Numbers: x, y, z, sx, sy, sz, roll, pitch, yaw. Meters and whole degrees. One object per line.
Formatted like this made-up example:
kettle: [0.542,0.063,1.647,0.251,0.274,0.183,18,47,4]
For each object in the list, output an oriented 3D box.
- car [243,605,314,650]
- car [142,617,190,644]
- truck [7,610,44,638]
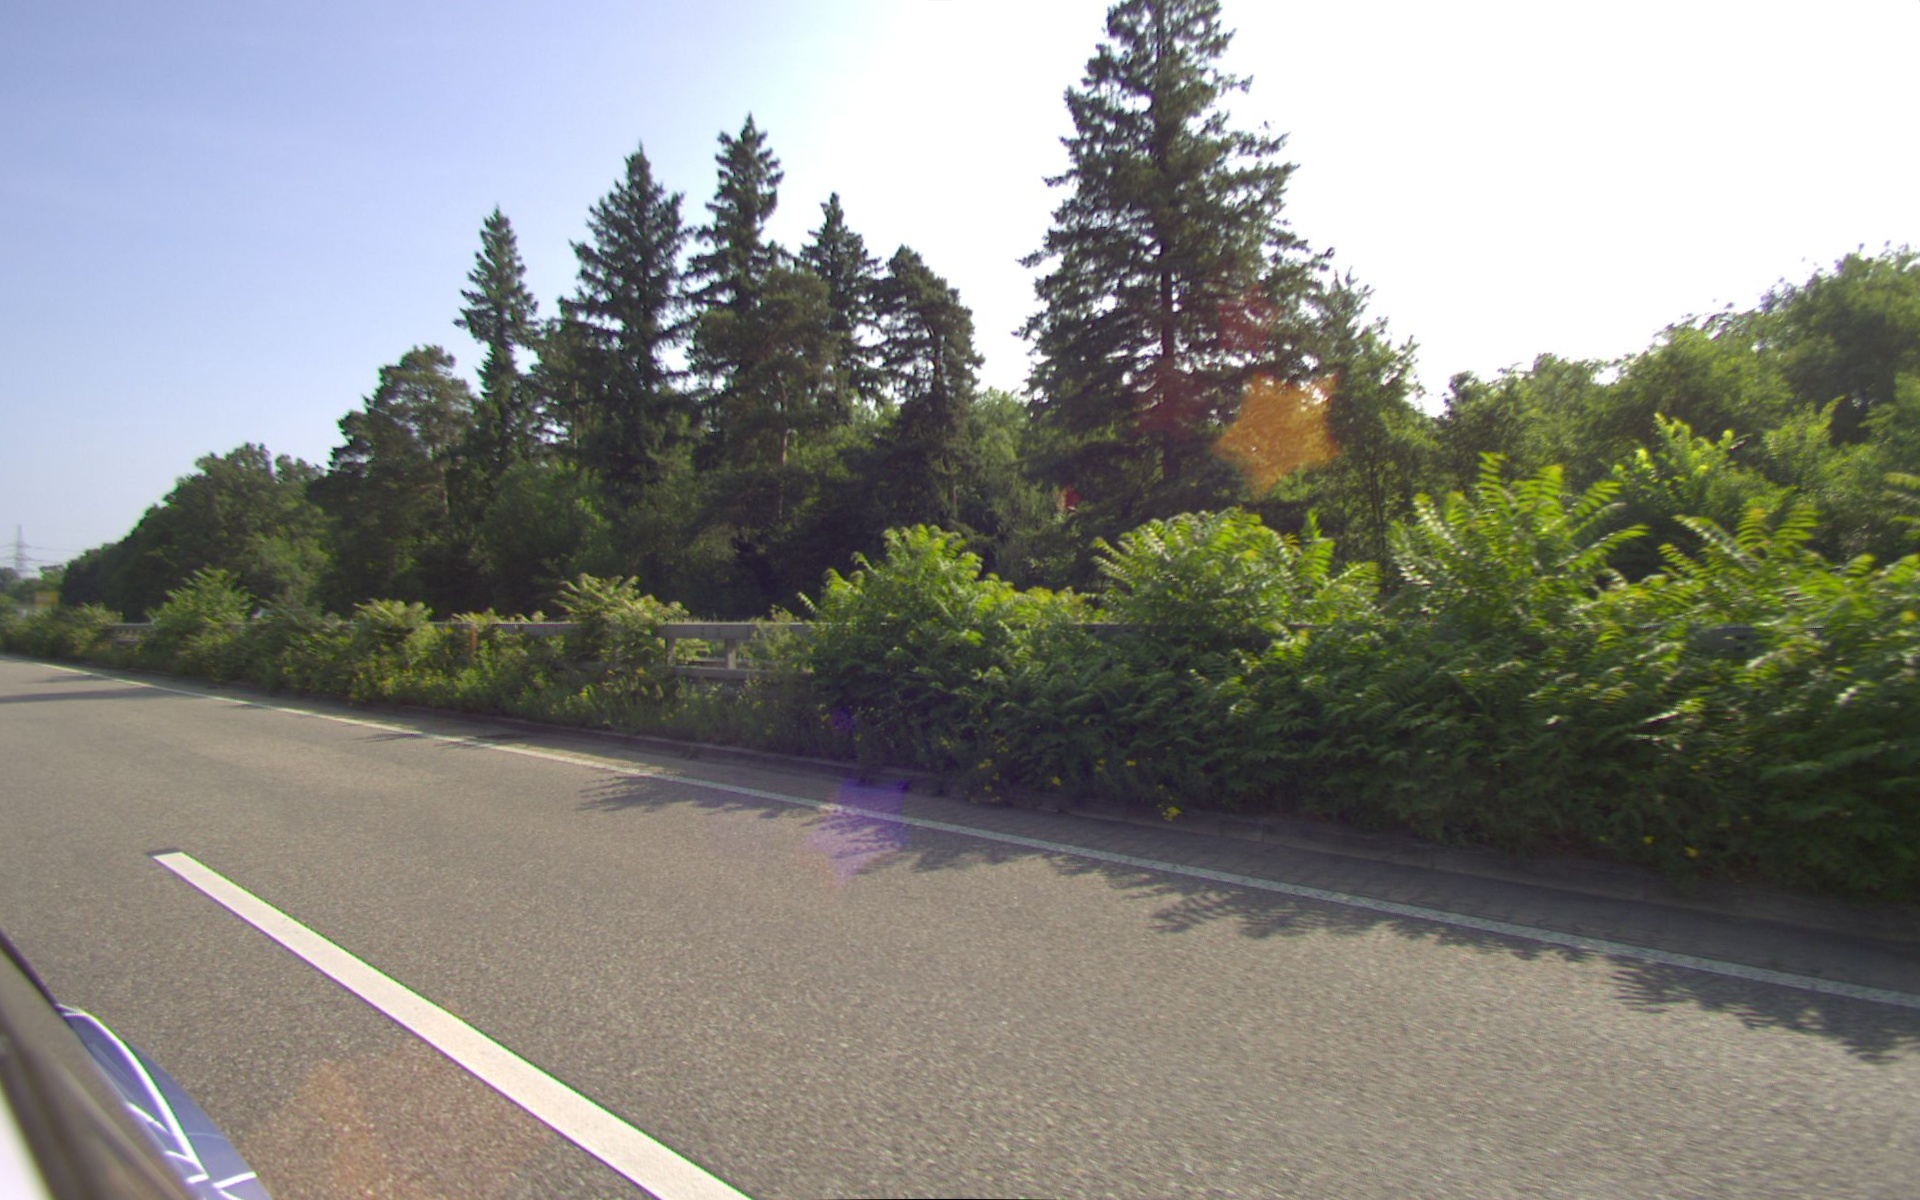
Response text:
car: [-32.778,1.297,48.636,4.492,2.029,1.796,-1,0,42]
car: [-52.880,1.982,67.373,4.299,1.695,1.796,-1,0,42]
truck: [-109.638,2.814,118.671,7.225,3.201,2.436,-1,-2,42]
